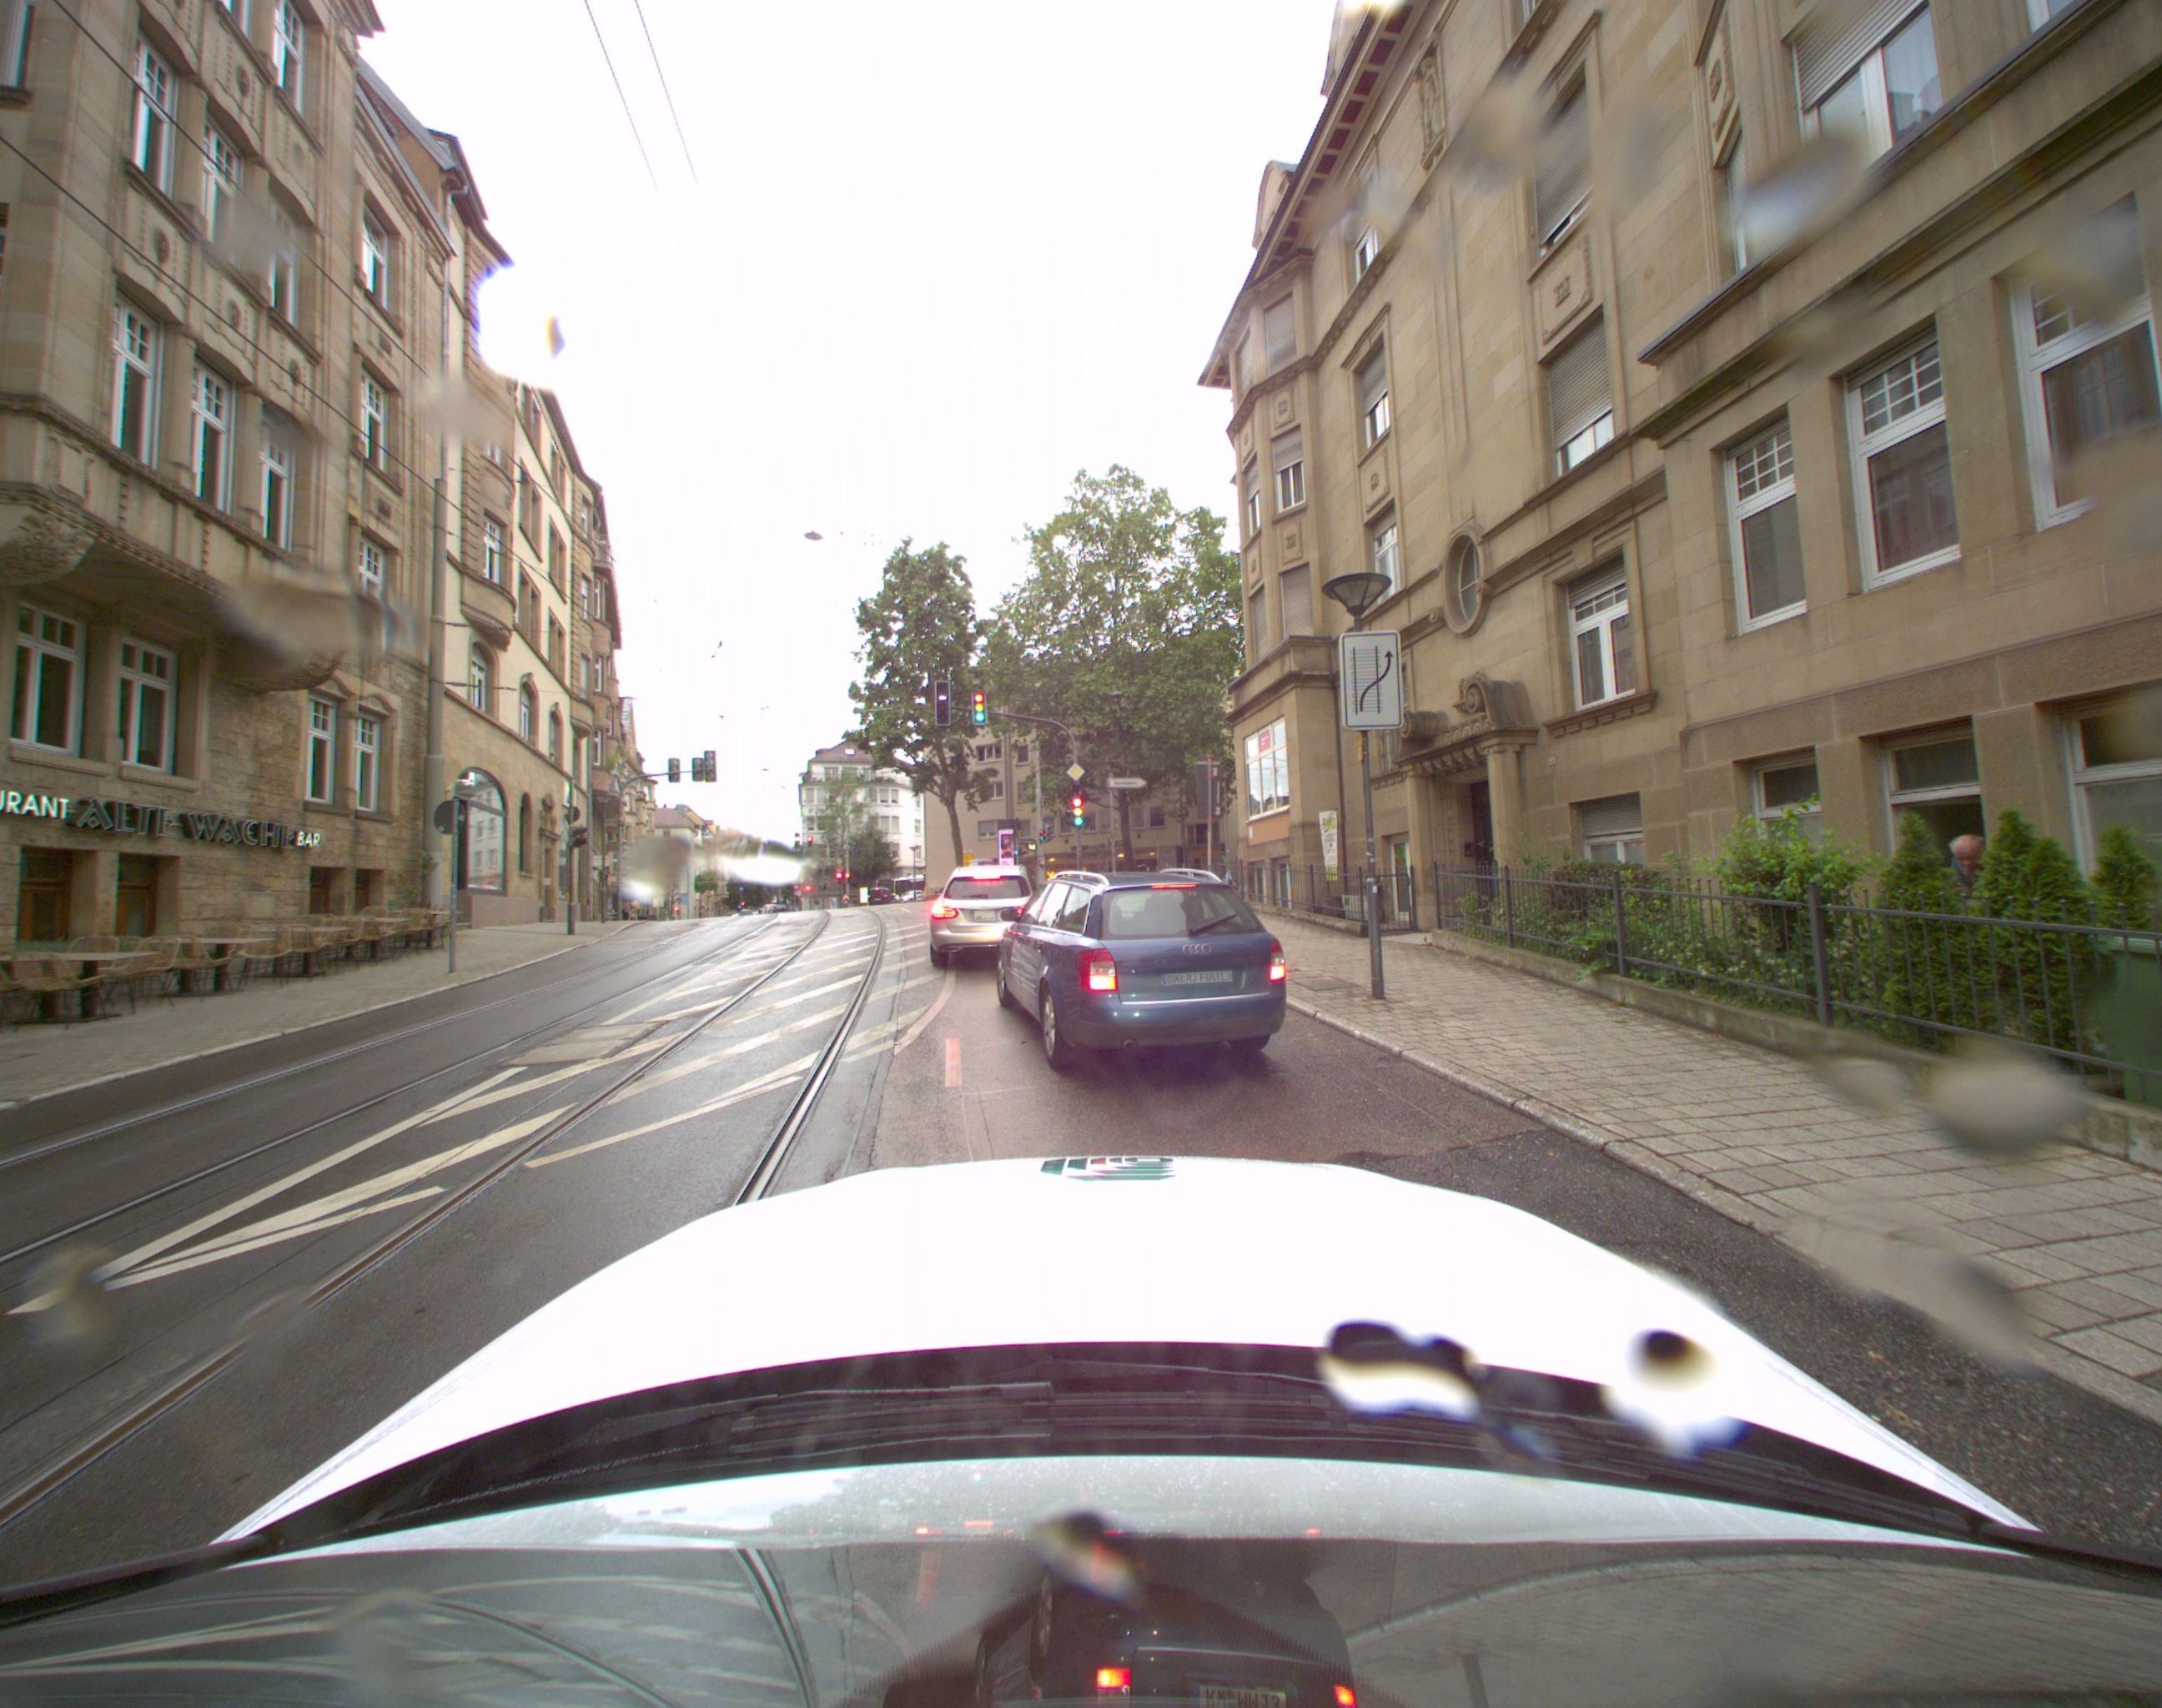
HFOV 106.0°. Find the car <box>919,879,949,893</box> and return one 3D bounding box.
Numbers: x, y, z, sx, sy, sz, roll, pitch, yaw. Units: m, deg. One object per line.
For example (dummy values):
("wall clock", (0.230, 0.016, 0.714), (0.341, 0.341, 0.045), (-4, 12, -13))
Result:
("car", (-18.474, 4.028, 102.450), (1.779, 1.510, 4.020), (-3, 0, 20))

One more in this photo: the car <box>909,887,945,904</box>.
("car", (-16.278, 4.403, 86.199), (1.781, 1.510, 4.684), (-3, 0, 15))

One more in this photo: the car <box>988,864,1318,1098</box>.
("car", (0.298, 0.831, 7.328), (1.713, 1.415, 4.016), (-1, 0, -14))

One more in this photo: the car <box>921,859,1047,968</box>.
("car", (-1.497, 0.831, 13.086), (1.708, 1.456, 3.546), (-1, 0, -5))

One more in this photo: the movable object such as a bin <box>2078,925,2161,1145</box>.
("movable object such as a bin", (5.406, 0.878, 3.903), (0.537, 1.026, 0.602), (2, -2, -10))

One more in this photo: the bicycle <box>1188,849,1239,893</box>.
("bicycle", (3.845, 0.496, 23.715), (1.300, 1.173, 0.524), (-4, 0, -11))

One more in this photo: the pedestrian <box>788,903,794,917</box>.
("pedestrian", (-37.218, 7.187, 104.492), (0.650, 1.661, 0.646), (-1, -1, -18))

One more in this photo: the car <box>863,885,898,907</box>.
("car", (-16.745, 3.499, 68.290), (1.788, 1.510, 4.000), (-5, 0, 1))

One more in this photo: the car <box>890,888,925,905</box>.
("car", (-18.819, 4.606, 88.616), (1.779, 1.510, 4.020), (-3, 0, 20))

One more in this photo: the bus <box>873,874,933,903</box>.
("bus", (-20.649, 3.920, 95.085), (2.832, 2.861, 8.771), (-3, 0, 16))

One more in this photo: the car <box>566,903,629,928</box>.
("car", (-37.144, 4.712, 62.685), (4.008, 1.510, 1.785), (-2, 0, -26))

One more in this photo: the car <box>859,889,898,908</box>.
("car", (-20.699, 4.554, 83.387), (1.779, 1.614, 4.020), (-3, 0, 20))
